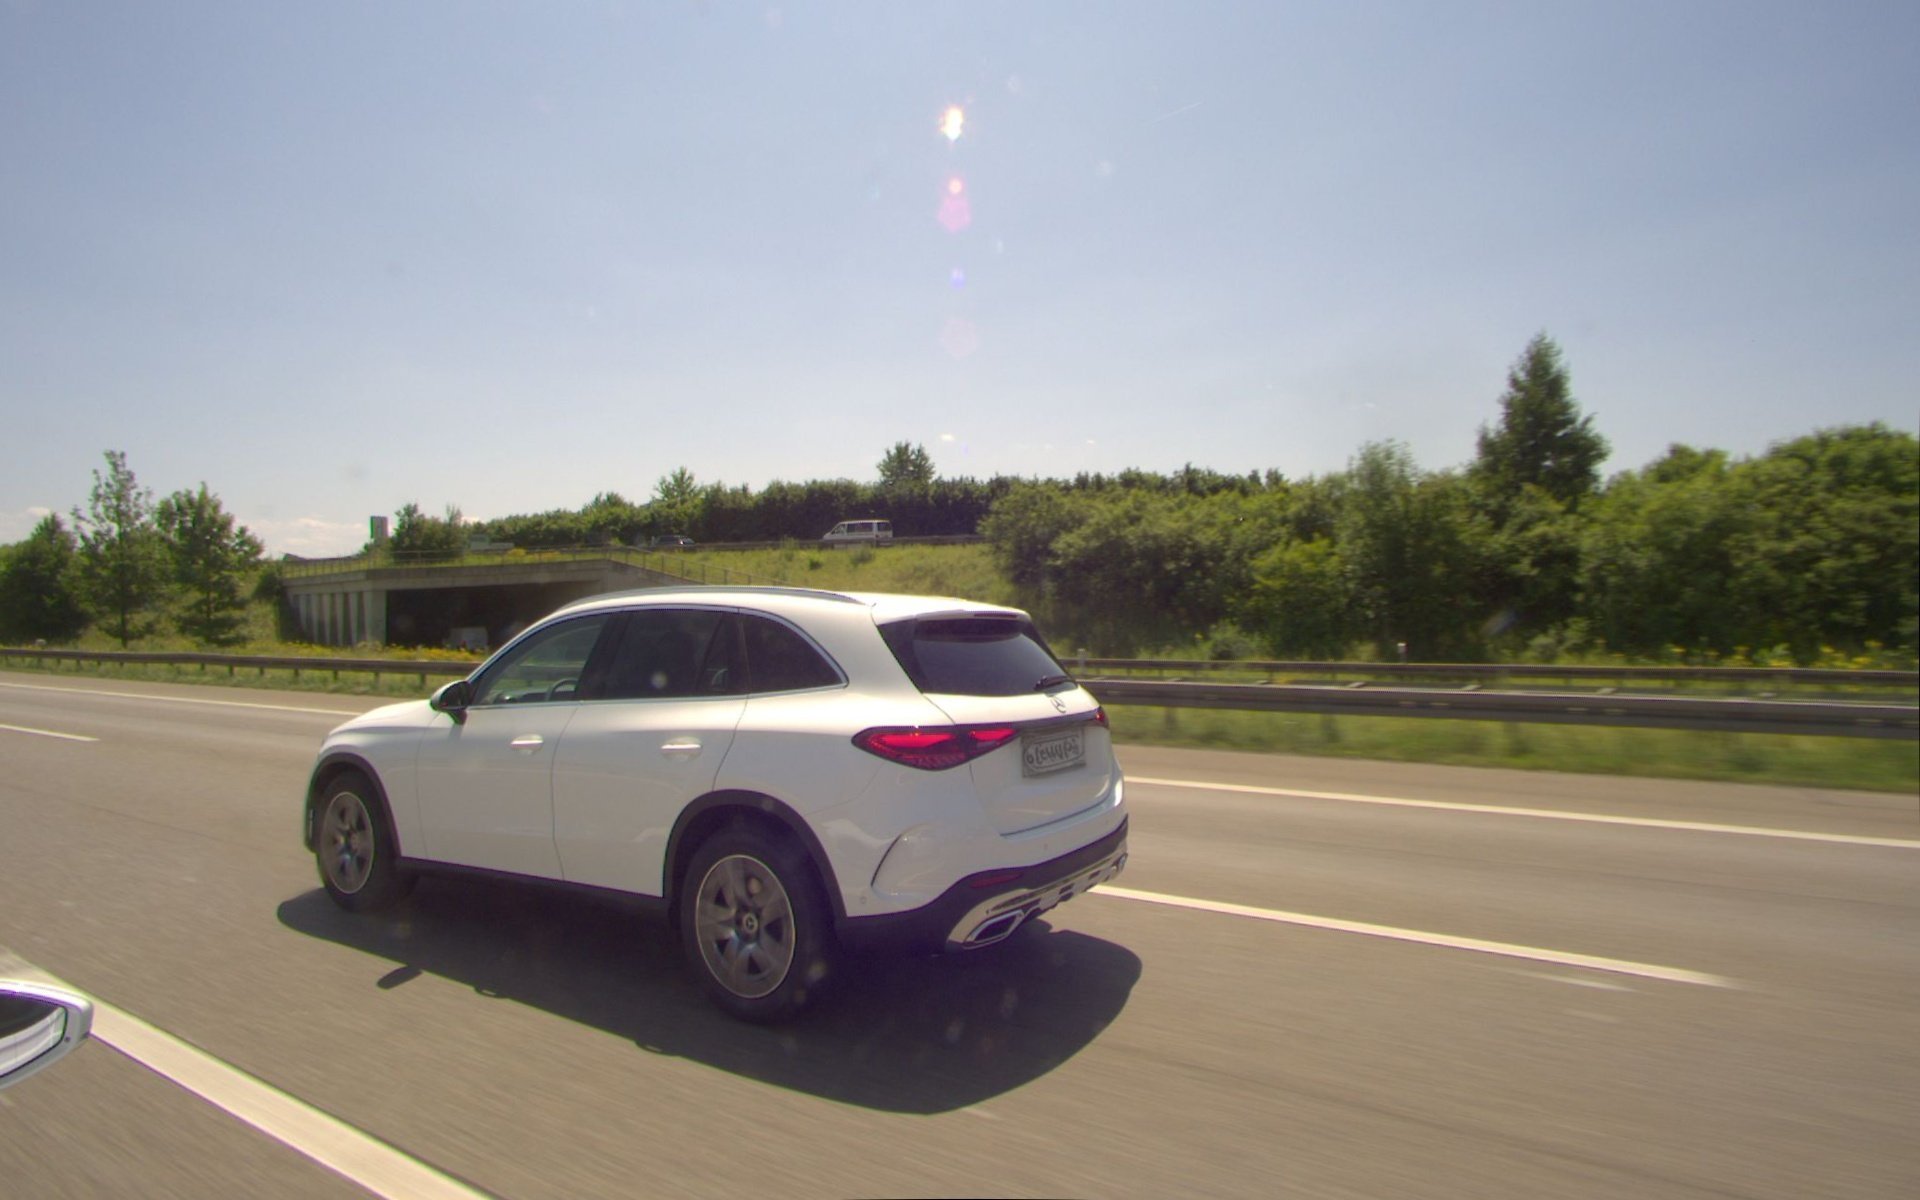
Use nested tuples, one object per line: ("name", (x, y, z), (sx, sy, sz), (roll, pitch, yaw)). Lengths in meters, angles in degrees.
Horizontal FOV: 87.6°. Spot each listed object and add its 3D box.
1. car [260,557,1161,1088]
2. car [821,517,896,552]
("car", (-1.465, 0.748, 5.185), (4.569, 1.677, 1.901), (-1, -1, 32))
("car", (-6.404, -4.091, 63.238), (4.461, 1.830, 1.991), (-1, -2, 31))
